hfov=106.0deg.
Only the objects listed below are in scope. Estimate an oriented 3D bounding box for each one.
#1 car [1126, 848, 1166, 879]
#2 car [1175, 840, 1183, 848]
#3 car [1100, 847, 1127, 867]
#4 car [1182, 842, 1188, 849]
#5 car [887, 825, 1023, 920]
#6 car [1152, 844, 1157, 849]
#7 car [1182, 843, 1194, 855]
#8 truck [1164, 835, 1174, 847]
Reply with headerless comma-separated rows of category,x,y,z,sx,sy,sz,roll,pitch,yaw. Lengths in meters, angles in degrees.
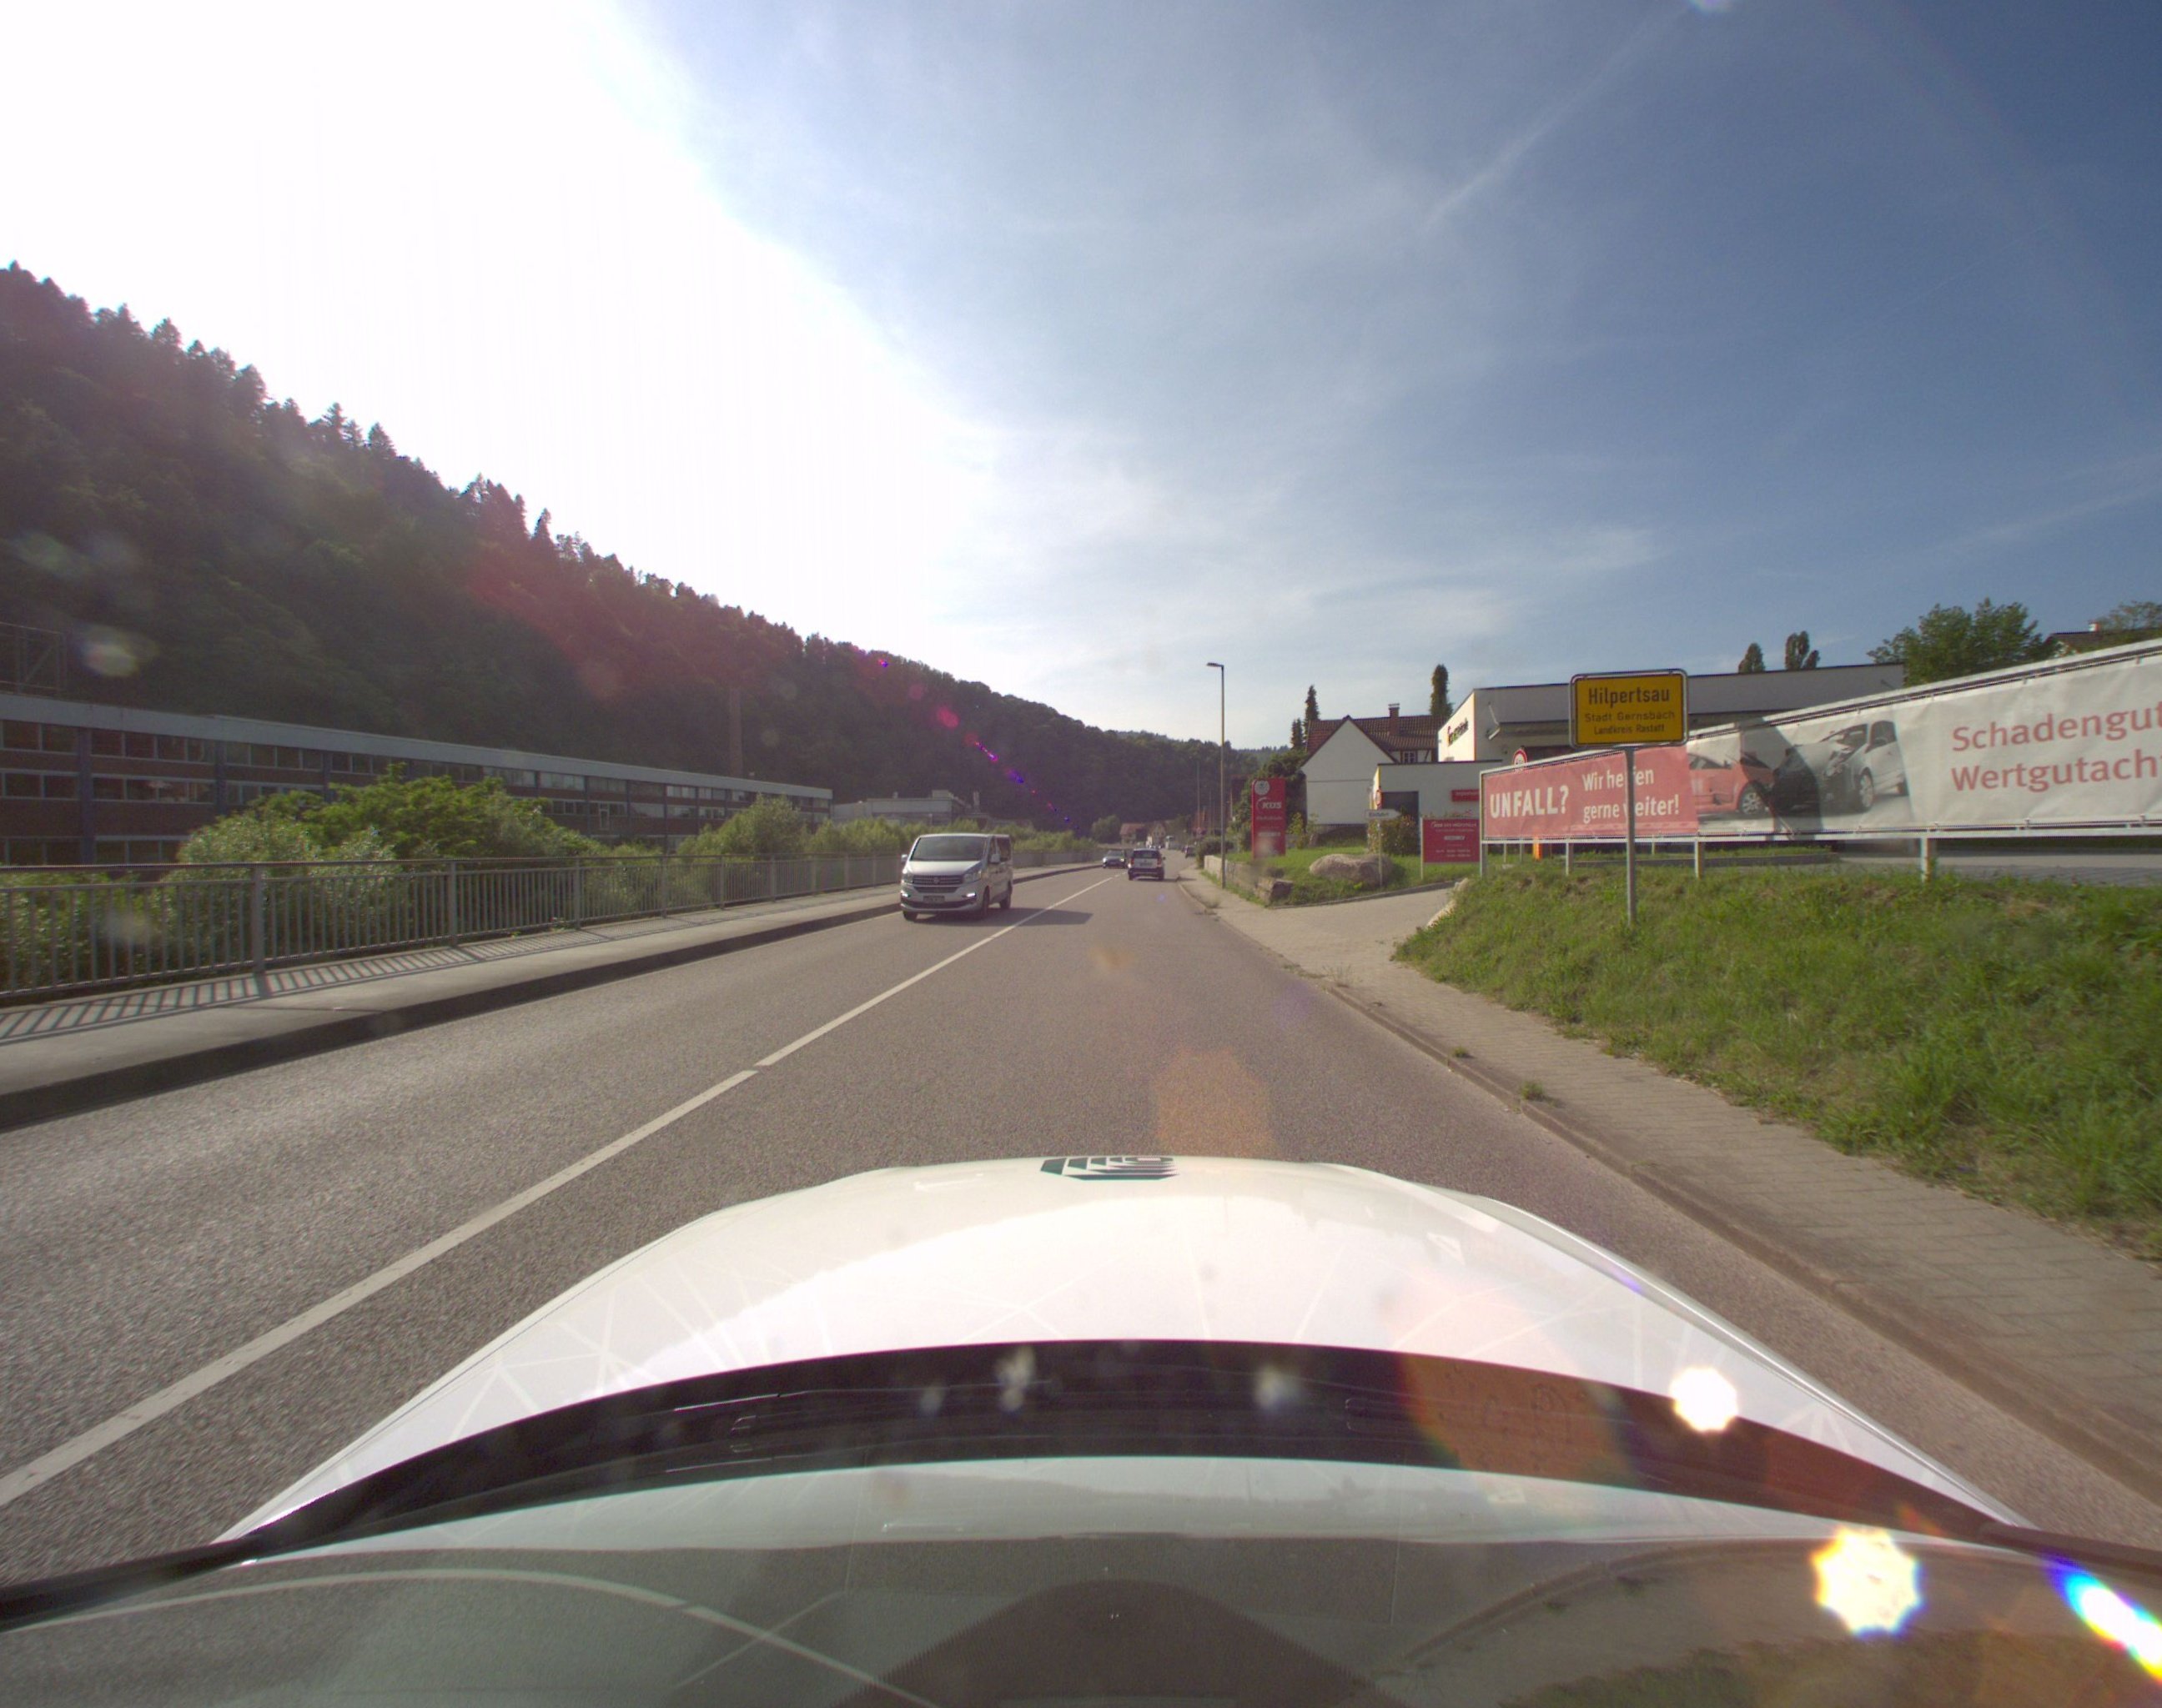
car,3.452,0.448,42.833,1.851,1.544,4.383,0,0,8
car,23.754,-2.490,197.053,1.664,1.752,3.458,0,2,10
car,2.623,0.224,64.909,1.804,1.484,4.805,0,0,5
car,21.932,-1.819,172.112,1.357,1.278,3.089,0,0,7
car,-2.860,0.405,19.799,1.910,1.967,5.155,-1,0,6
car,21.615,-2.319,238.160,1.426,1.383,3.139,0,2,4
car,14.451,-0.631,109.949,1.612,1.541,3.286,0,0,9
truck,24.689,-3.625,227.259,2.715,3.374,6.490,0,2,6
